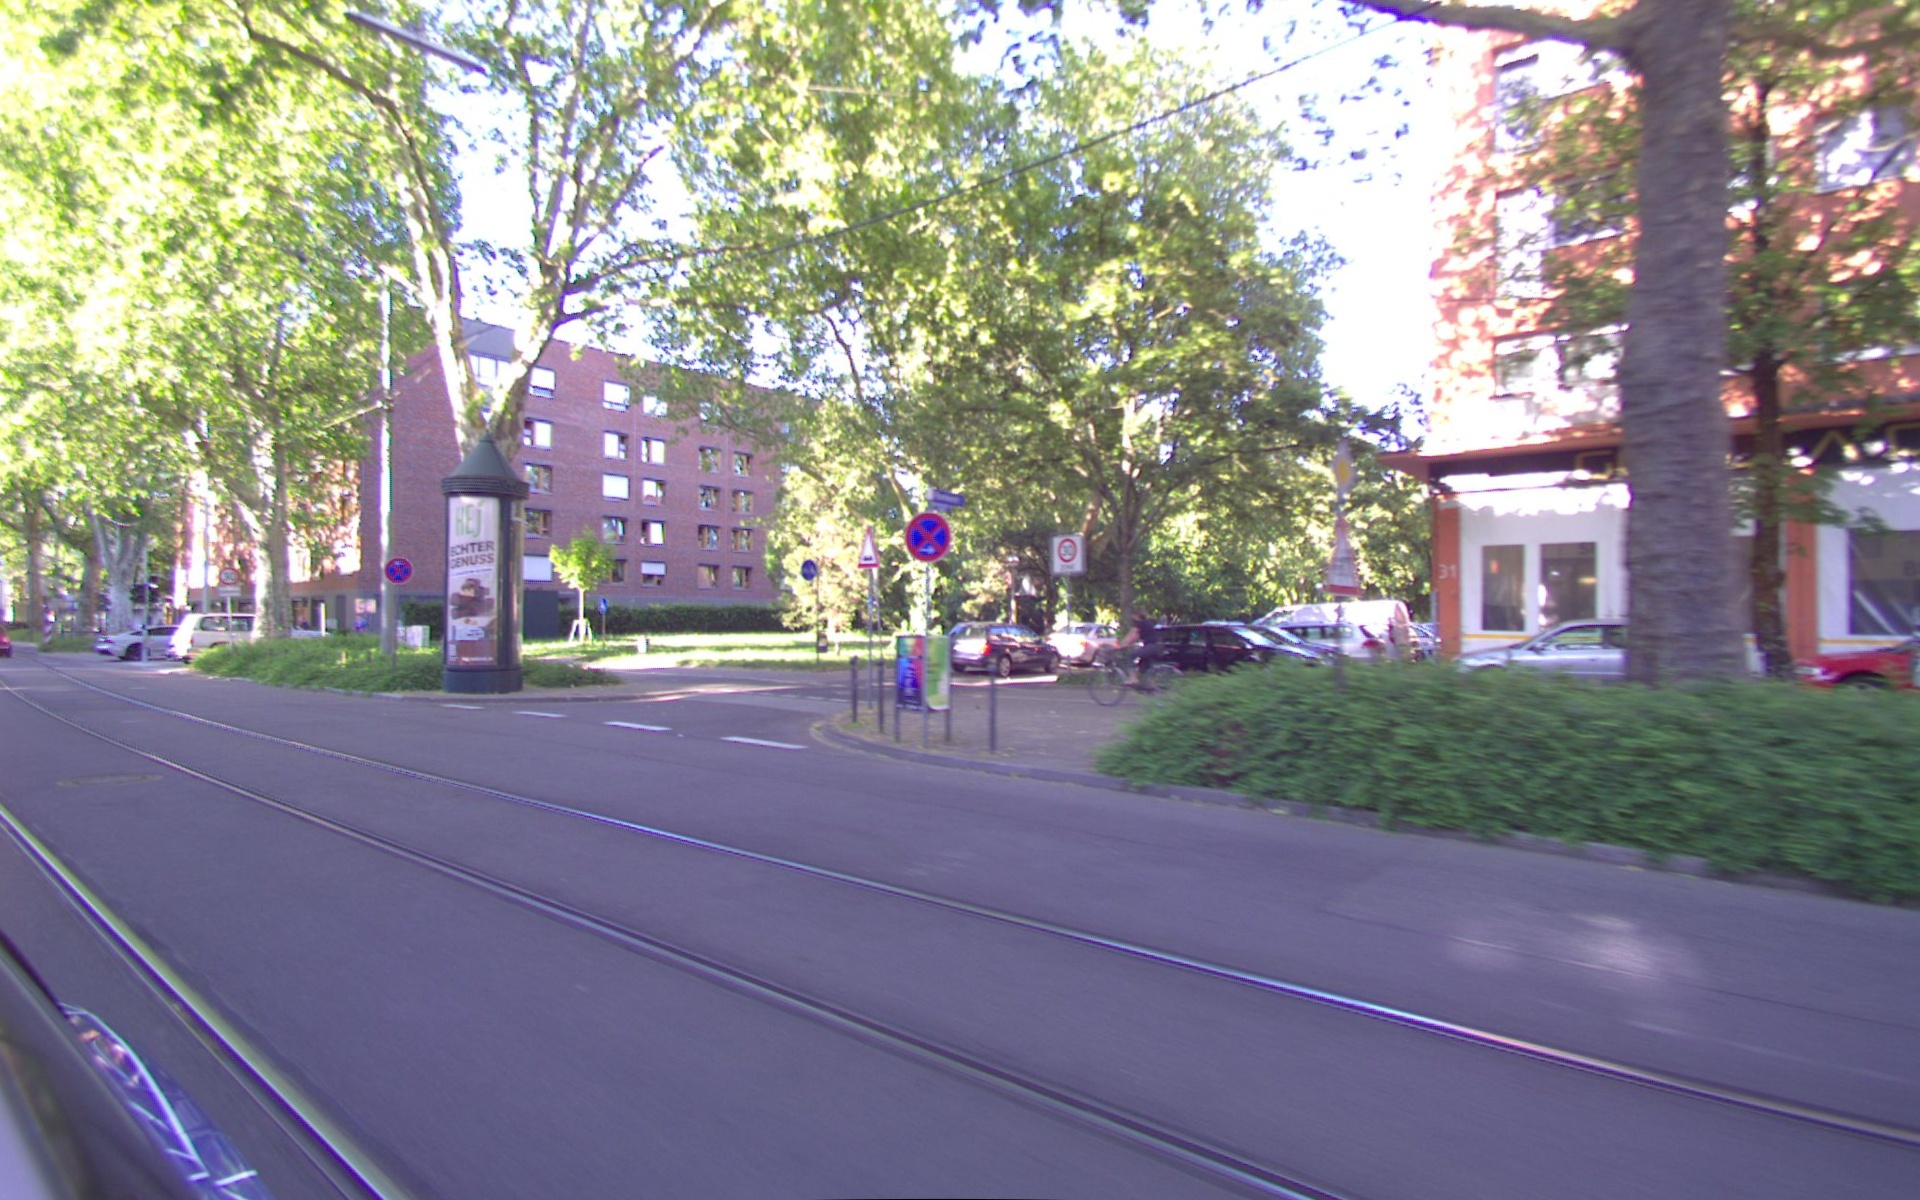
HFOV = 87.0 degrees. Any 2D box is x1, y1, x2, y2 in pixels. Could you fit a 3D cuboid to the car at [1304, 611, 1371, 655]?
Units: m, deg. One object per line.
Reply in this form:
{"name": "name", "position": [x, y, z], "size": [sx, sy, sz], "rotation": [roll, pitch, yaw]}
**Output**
{"name": "car", "position": [19.964, 1.702, 53.376], "size": [2.040, 2.214, 4.685], "rotation": [-1, -1, 38]}

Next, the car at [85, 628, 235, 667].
{"name": "car", "position": [-33.948, 1.975, 43.043], "size": [1.953, 1.471, 4.716], "rotation": [-1, -1, 39]}

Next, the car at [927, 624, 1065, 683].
{"name": "car", "position": [1.132, 1.483, 29.287], "size": [1.856, 1.500, 4.488], "rotation": [-1, -1, 35]}

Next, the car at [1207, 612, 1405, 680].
{"name": "car", "position": [8.975, 1.138, 26.402], "size": [4.546, 1.630, 1.977], "rotation": [-1, -1, 34]}

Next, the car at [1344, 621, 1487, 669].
{"name": "car", "position": [16.429, 1.576, 36.578], "size": [4.472, 1.630, 1.928], "rotation": [-1, -1, 34]}

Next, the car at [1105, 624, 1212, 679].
{"name": "car", "position": [6.184, 1.529, 31.239], "size": [1.740, 1.459, 3.951], "rotation": [1, 0, 36]}

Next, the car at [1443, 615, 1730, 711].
{"name": "car", "position": [10.586, 0.985, 17.231], "size": [3.891, 1.418, 1.927], "rotation": [-1, -1, 42]}

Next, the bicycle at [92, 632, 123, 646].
{"name": "bicycle", "position": [-80.009, 3.664, 94.989], "size": [2.067, 1.198, 0.883], "rotation": [0, -1, -33]}

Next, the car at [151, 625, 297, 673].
{"name": "car", "position": [-27.613, 1.783, 38.069], "size": [1.900, 1.659, 4.098], "rotation": [-1, -1, 39]}

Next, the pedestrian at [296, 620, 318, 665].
{"name": "pedestrian", "position": [-26.467, 1.709, 41.031], "size": [0.636, 1.823, 0.752], "rotation": [0, -1, -43]}

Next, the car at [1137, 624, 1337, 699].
{"name": "car", "position": [6.157, 1.307, 22.618], "size": [3.986, 1.504, 1.799], "rotation": [-1, -1, 31]}

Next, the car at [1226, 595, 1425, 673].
{"name": "car", "position": [10.226, 0.928, 28.540], "size": [4.914, 2.019, 1.974], "rotation": [-1, -1, 39]}

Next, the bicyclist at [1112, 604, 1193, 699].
{"name": "bicyclist", "position": [3.215, 0.835, 16.885], "size": [1.113, 1.518, 0.794], "rotation": [-1, -1, 31]}

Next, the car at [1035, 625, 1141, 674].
{"name": "car", "position": [4.365, 1.615, 33.913], "size": [1.818, 1.461, 4.432], "rotation": [-1, -1, 33]}

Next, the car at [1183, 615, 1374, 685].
{"name": "car", "position": [7.632, 1.145, 24.357], "size": [3.991, 1.537, 1.976], "rotation": [-1, -1, 35]}

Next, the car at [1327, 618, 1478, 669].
{"name": "car", "position": [15.182, 1.447, 34.799], "size": [4.472, 1.630, 1.928], "rotation": [-1, -1, 34]}

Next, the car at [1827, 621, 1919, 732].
{"name": "car", "position": [14.555, 1.048, 13.891], "size": [3.999, 1.498, 1.927], "rotation": [-1, -1, 42]}

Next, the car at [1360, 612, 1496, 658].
{"name": "car", "position": [17.856, 1.303, 38.657], "size": [4.472, 1.630, 1.928], "rotation": [-1, -1, 34]}

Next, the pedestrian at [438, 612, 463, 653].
{"name": "pedestrian", "position": [-20.908, 1.320, 41.538], "size": [0.779, 1.686, 0.702], "rotation": [-1, -1, 41]}

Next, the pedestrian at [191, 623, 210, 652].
{"name": "pedestrian", "position": [-47.739, 2.346, 63.603], "size": [0.971, 1.757, 0.755], "rotation": [-1, -1, 41]}

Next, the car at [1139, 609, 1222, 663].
{"name": "car", "position": [8.803, 1.391, 40.171], "size": [1.994, 2.029, 3.955], "rotation": [-1, -1, 33]}

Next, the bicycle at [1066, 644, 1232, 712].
{"name": "bicycle", "position": [3.139, 1.269, 16.920], "size": [2.574, 1.006, 0.961], "rotation": [-1, -1, 31]}

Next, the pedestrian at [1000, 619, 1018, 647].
{"name": "pedestrian", "position": [2.913, 1.963, 60.293], "size": [0.766, 1.686, 0.714], "rotation": [0, -1, -32]}

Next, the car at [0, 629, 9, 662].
{"name": "car", "position": [-44.358, 2.046, 45.788], "size": [3.472, 1.455, 1.643], "rotation": [-1, -1, 42]}

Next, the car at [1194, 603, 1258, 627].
{"name": "car", "position": [19.081, 1.080, 72.684], "size": [1.869, 1.630, 4.108], "rotation": [0, -1, -44]}

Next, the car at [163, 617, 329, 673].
{"name": "car", "position": [-25.453, 1.552, 36.197], "size": [1.937, 1.848, 4.525], "rotation": [-1, -1, 39]}
